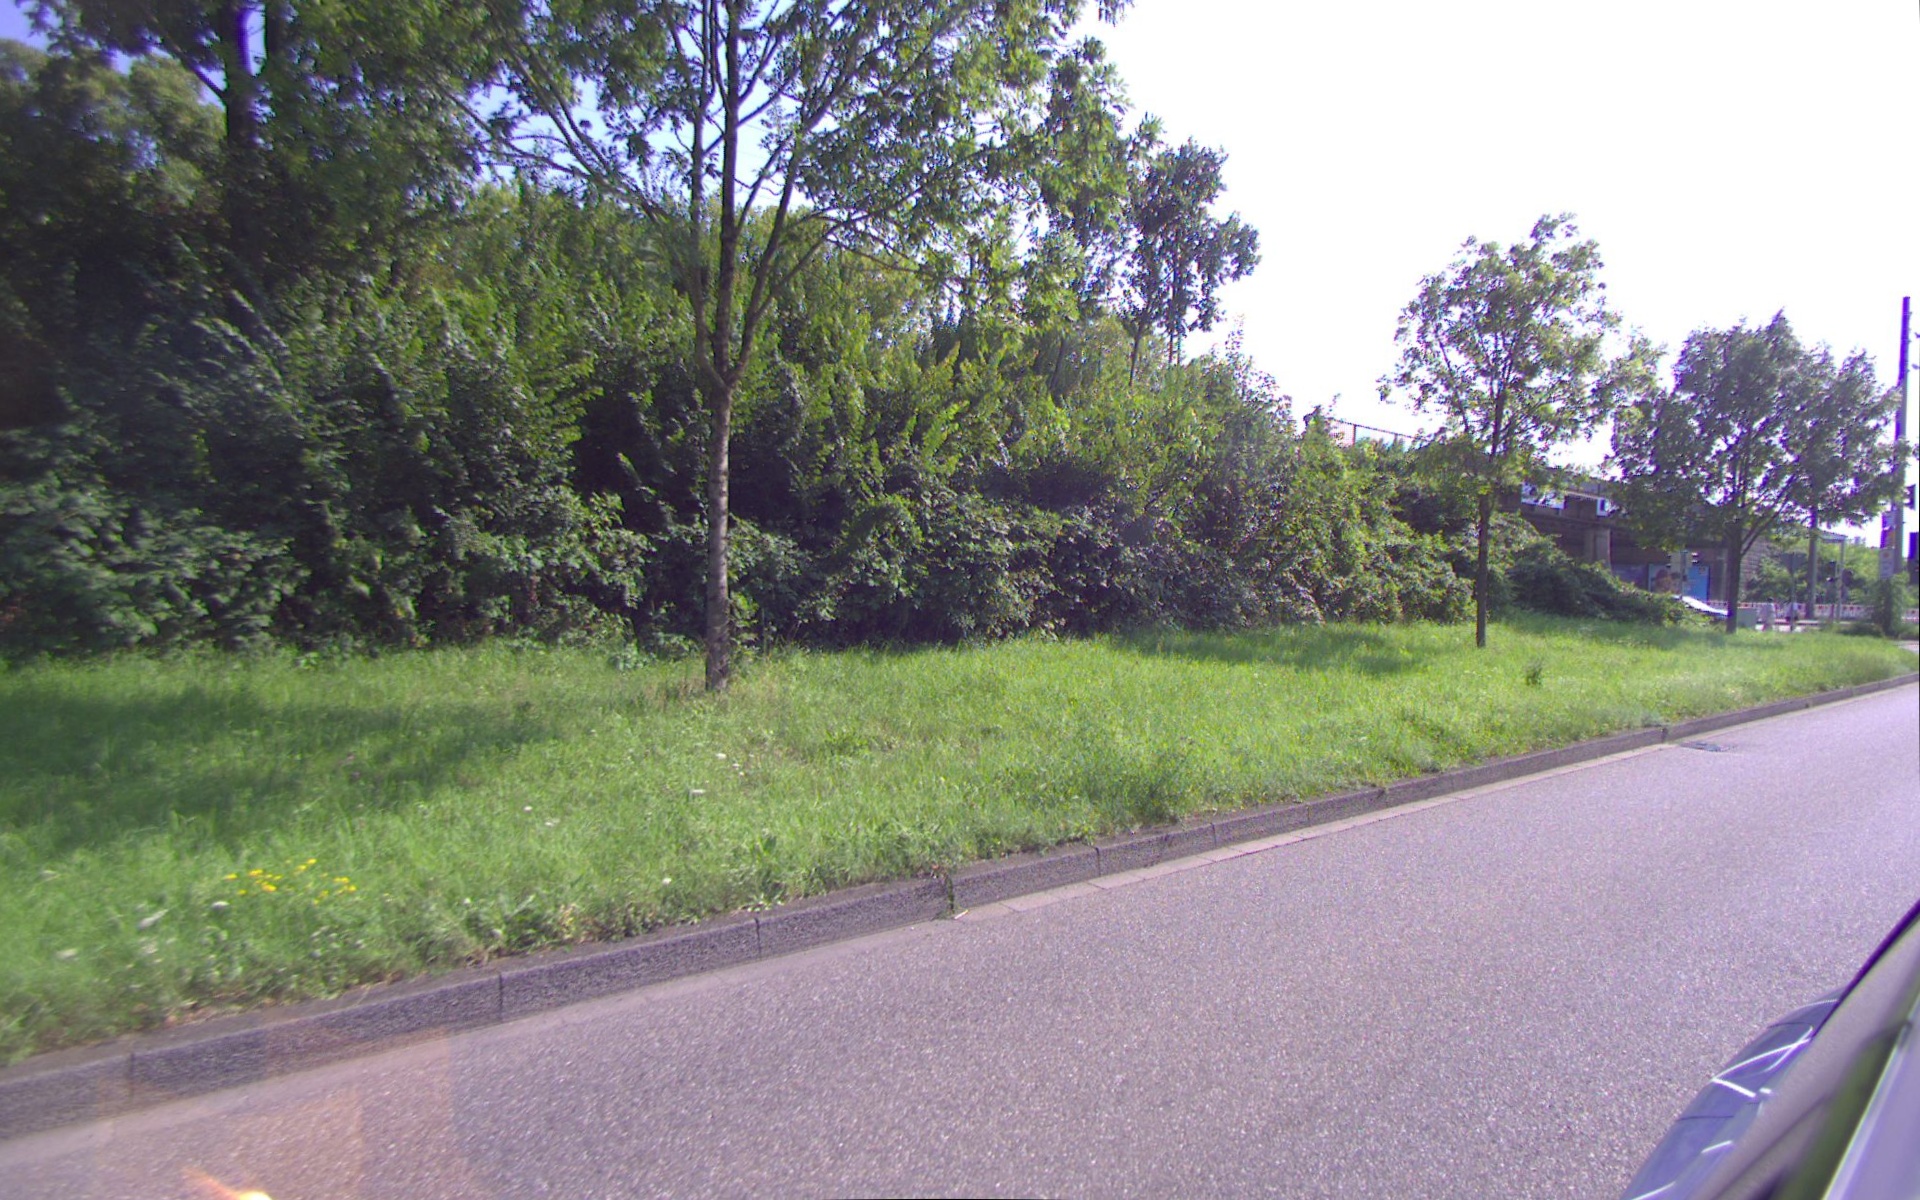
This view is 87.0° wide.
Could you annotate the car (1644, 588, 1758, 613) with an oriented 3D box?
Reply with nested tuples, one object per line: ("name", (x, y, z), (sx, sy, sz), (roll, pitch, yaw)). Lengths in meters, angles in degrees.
("car", (46.043, 0.011, 62.982), (5.350, 1.464, 1.852), (1, 1, 14))

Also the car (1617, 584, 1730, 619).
("car", (35.678, 0.045, 50.758), (4.163, 1.638, 1.998), (2, 1, 19))

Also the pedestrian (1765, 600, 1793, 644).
("pedestrian", (29.946, 0.797, 37.012), (0.563, 1.586, 0.535), (1, 1, 11))

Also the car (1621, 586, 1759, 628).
("car", (29.632, 0.250, 41.220), (1.831, 1.552, 4.203), (1, 1, -21))

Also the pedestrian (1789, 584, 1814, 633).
("pedestrian", (29.941, 0.285, 36.014), (0.486, 1.703, 0.567), (1, 1, 21))
